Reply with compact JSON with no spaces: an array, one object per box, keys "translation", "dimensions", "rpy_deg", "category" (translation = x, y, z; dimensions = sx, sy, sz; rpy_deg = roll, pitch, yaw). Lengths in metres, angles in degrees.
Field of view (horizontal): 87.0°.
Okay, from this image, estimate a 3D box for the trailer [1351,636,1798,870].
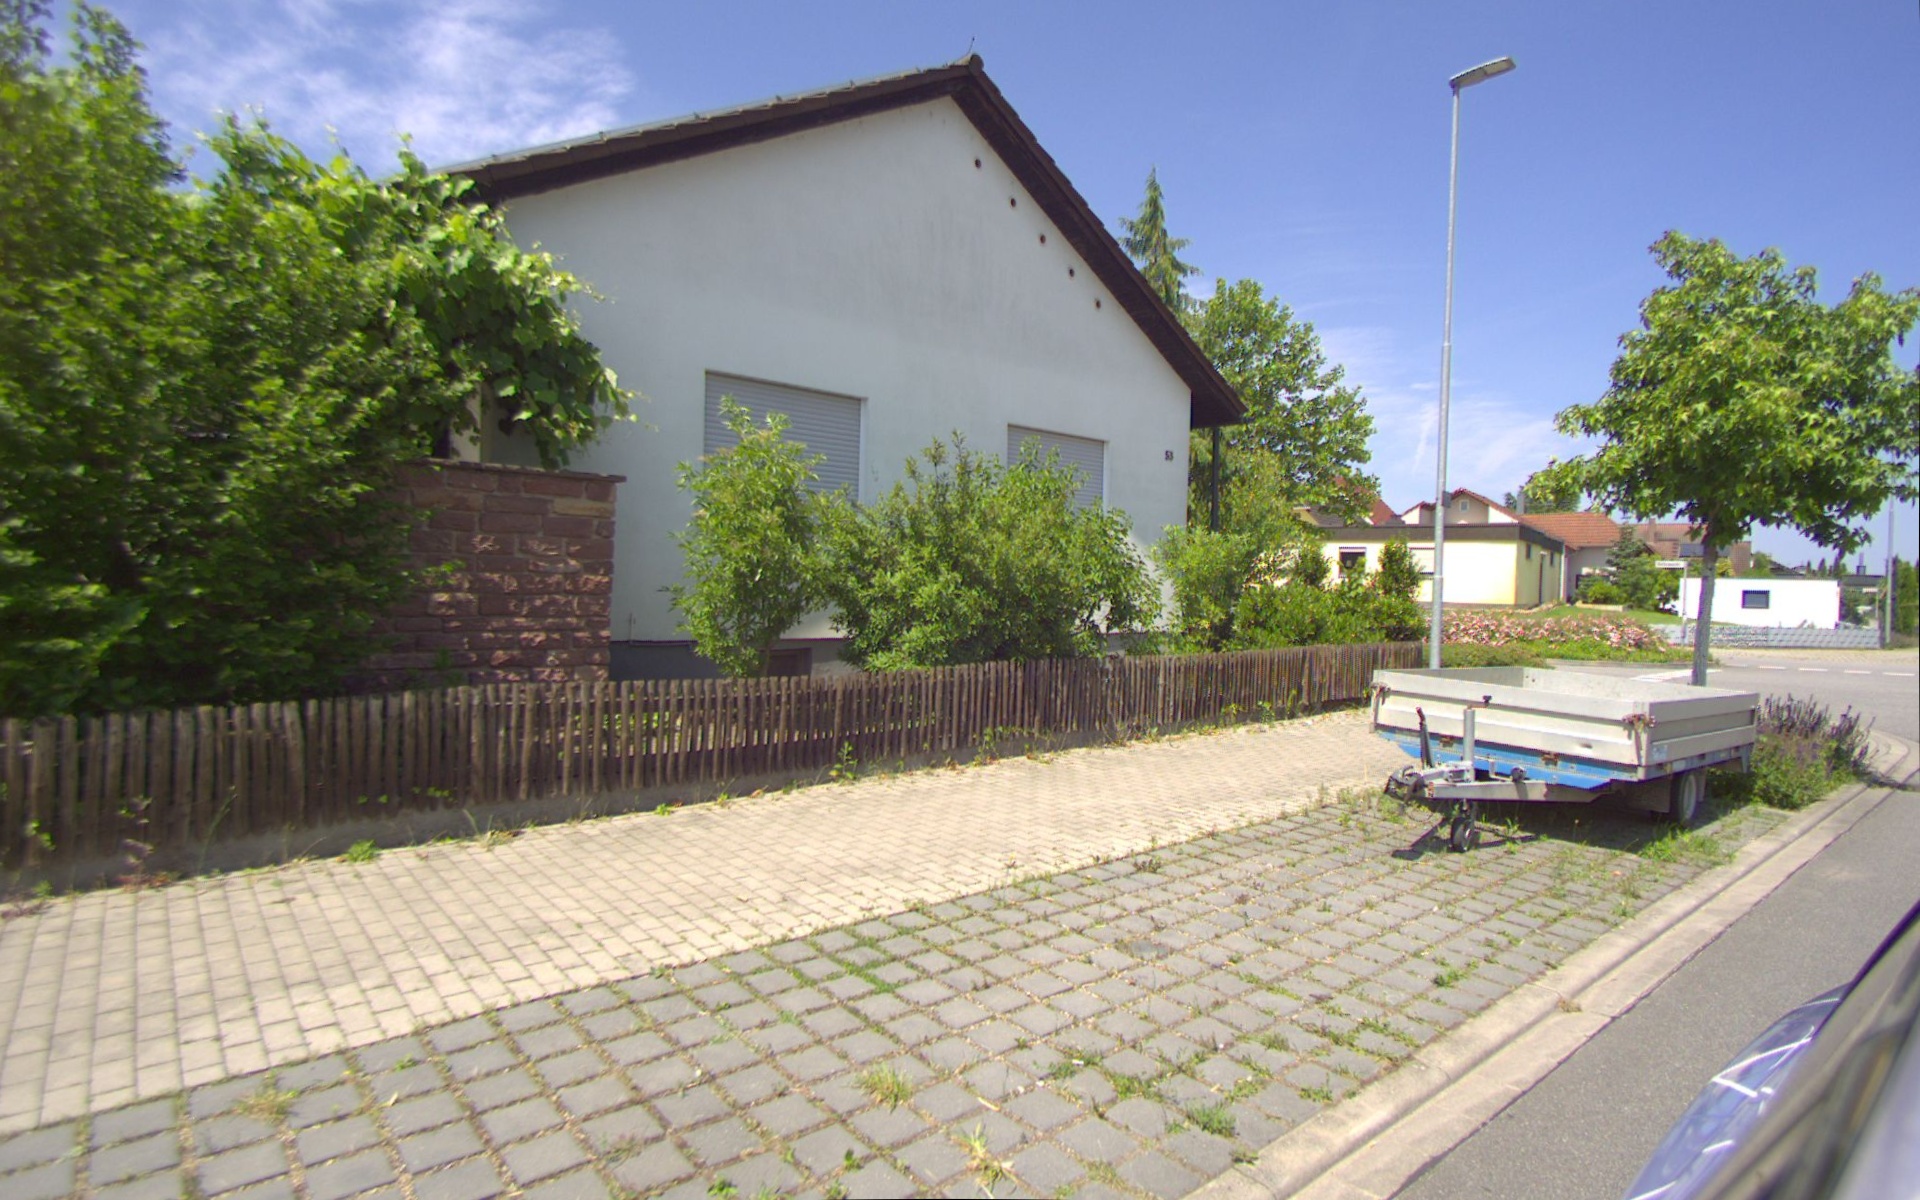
[{"translation":[4.258,0.860,6.933],"dimensions":[2.847,1.071,1.792],"rpy_deg":[1,2,-40],"category":"trailer"}]
